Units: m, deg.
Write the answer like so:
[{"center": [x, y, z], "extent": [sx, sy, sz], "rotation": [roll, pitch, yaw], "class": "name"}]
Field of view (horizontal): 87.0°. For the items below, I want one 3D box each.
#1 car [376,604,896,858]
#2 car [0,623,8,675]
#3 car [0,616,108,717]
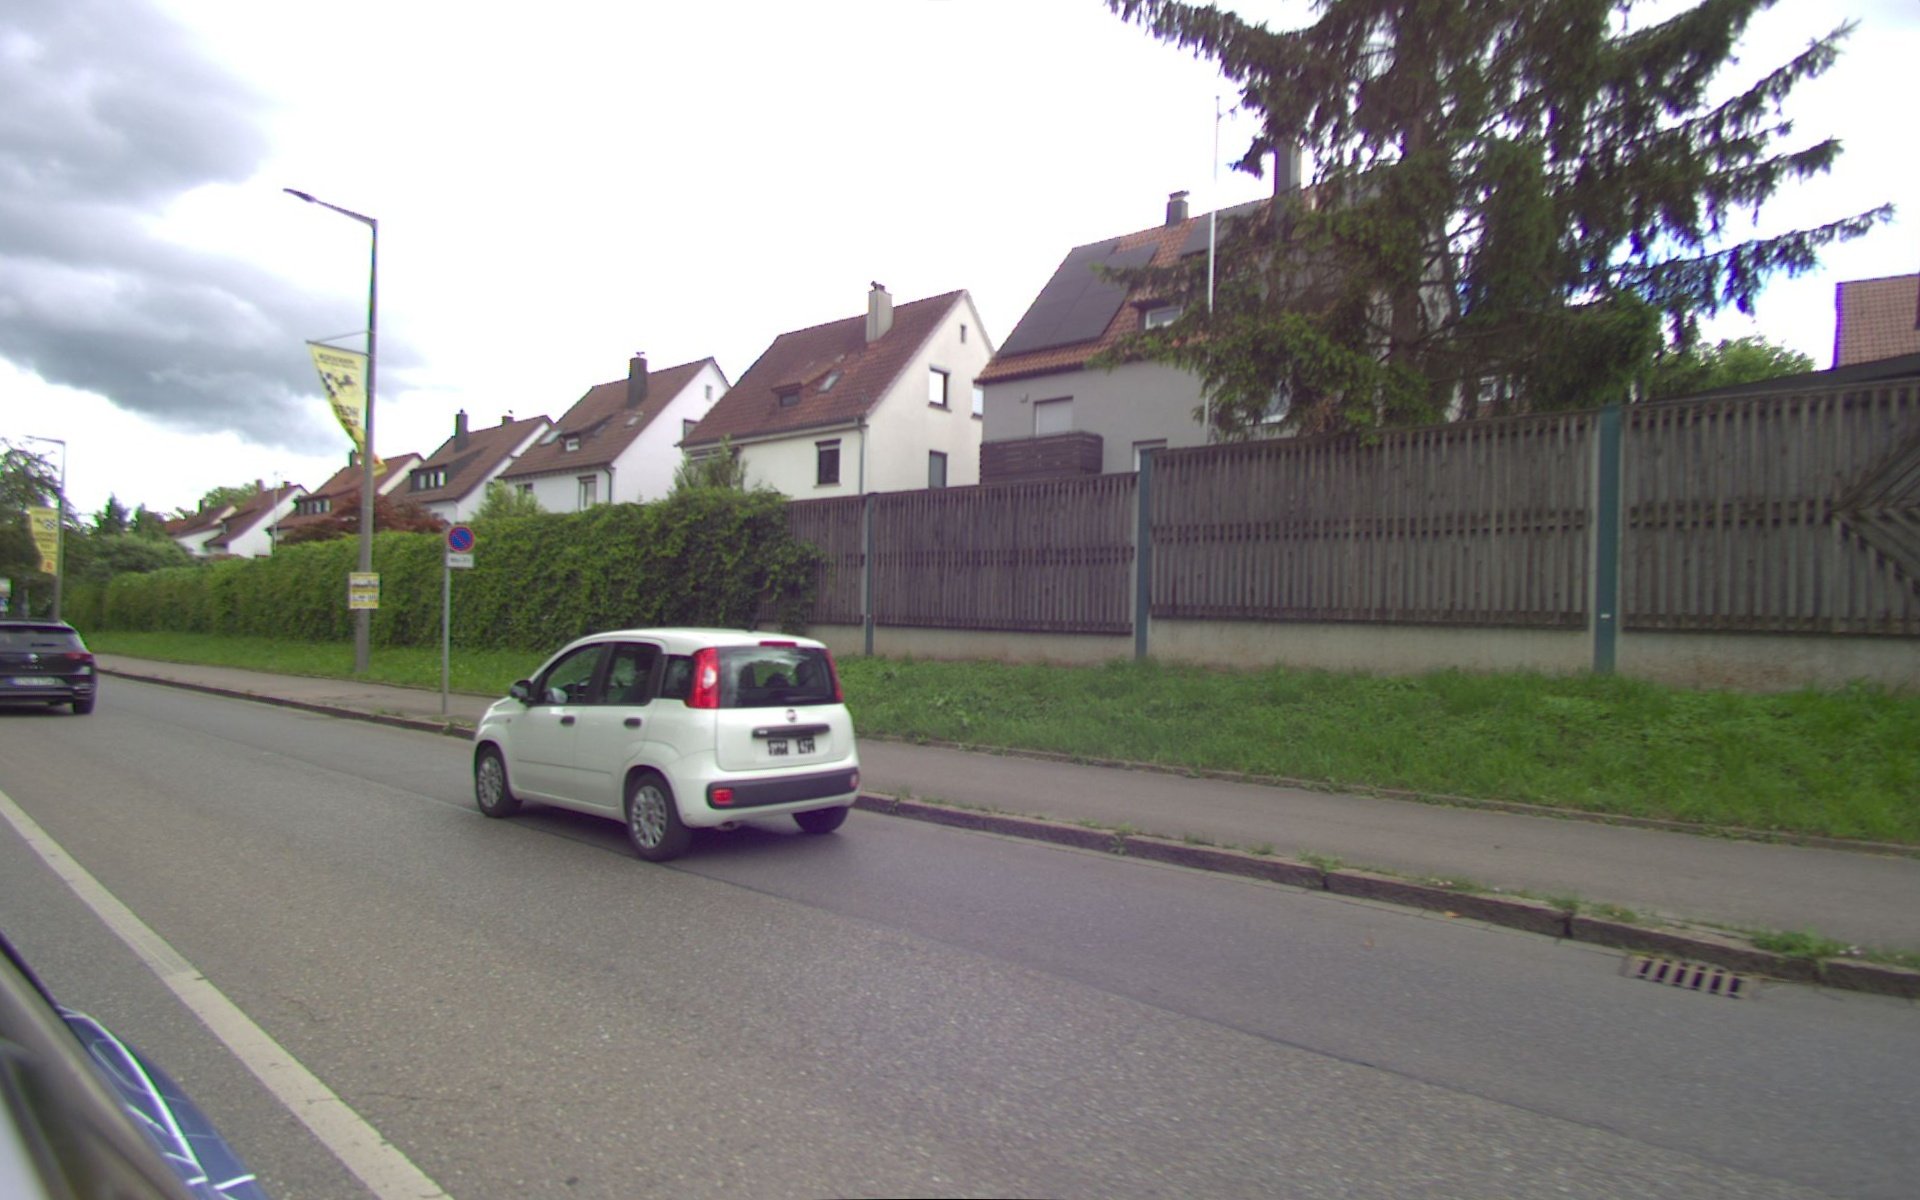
[{"center": [-2.861, 0.868, 8.332], "extent": [4.696, 1.536, 1.794], "rotation": [-1, -4, 39], "class": "car"}, {"center": [-29.524, 1.390, 29.815], "extent": [4.103, 1.492, 1.626], "rotation": [-1, -4, 40], "class": "car"}, {"center": [-16.041, 1.054, 17.060], "extent": [4.173, 1.536, 1.794], "rotation": [-1, -3, 40], "class": "car"}]
